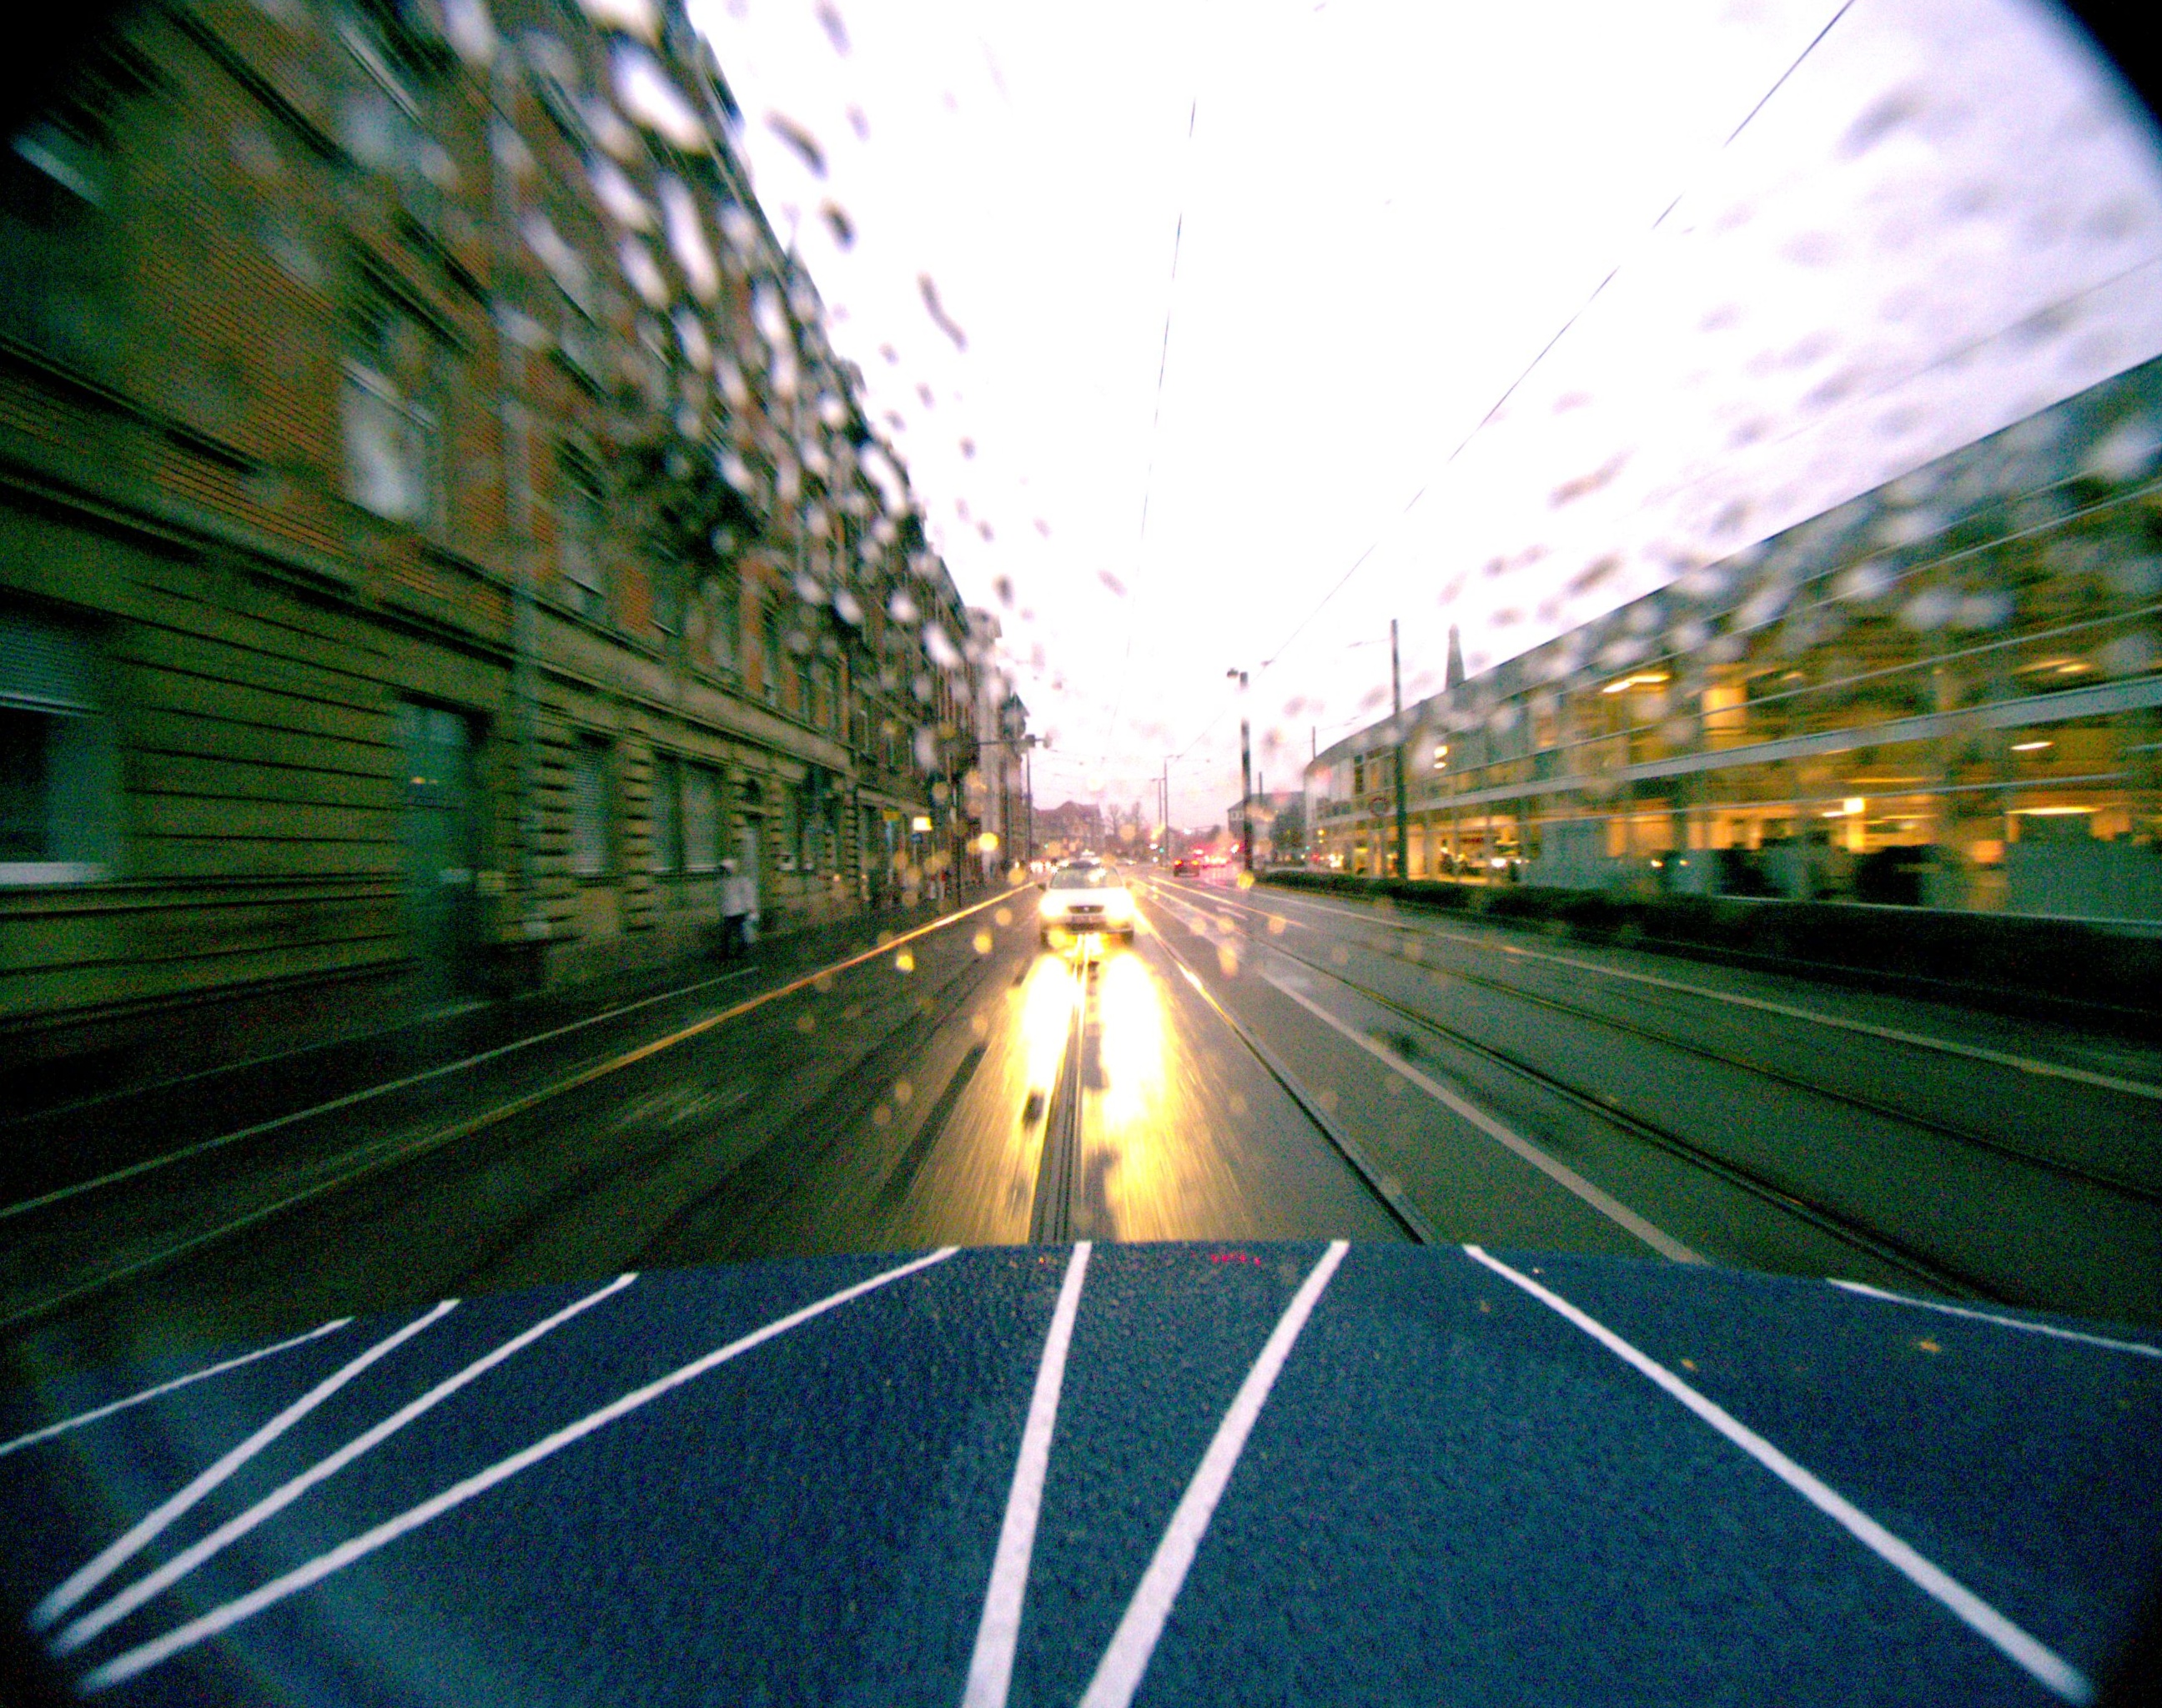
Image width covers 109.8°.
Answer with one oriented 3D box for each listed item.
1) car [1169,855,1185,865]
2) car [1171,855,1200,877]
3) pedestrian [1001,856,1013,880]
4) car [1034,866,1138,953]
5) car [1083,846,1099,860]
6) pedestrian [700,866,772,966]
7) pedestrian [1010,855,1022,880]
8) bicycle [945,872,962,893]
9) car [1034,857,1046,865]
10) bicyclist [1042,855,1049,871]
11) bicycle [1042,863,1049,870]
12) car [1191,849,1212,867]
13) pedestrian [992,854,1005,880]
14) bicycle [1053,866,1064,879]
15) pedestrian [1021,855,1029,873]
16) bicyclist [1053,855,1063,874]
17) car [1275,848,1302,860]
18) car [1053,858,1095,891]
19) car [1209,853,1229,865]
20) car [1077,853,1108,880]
[{"bbox_3d":[13.097,0.801,103.457,1.876,1.382,4.001,0,0,4],"label":"car"},{"bbox_3d":[8.035,0.904,58.728,1.845,1.569,4.442,-2,0,2],"label":"car"},{"bbox_3d":[-5.356,1.005,55.066,0.777,1.734,0.673,-1,1,1],"label":"pedestrian"},{"bbox_3d":[0.183,1.020,15.529,1.797,1.415,4.000,-2,0,3],"label":"car"},{"bbox_3d":[1.337,-0.196,103.764,2.018,1.809,3.688,-2,1,1],"label":"car"},{"bbox_3d":[-5.774,1.018,12.740,0.787,1.588,0.742,-2,1,4],"label":"pedestrian"},{"bbox_3d":[-4.602,0.945,53.796,0.777,1.734,0.673,-1,1,1],"label":"pedestrian"},{"bbox_3d":[-5.921,1.325,35.359,0.398,0.906,1.866,-2,0,1],"label":"bicycle"},{"bbox_3d":[-7.711,1.348,143.466,1.829,1.499,3.801,-2,0,-8],"label":"car"},{"bbox_3d":[-4.108,1.008,87.332,0.747,1.869,1.111,-2,1,-1],"label":"bicyclist"},{"bbox_3d":[-4.075,1.415,87.266,0.609,0.757,1.860,-2,1,-1],"label":"bicycle"},{"bbox_3d":[14.343,0.411,90.815,1.998,2.002,4.686,-2,1,5],"label":"car"},{"bbox_3d":[-5.739,0.903,52.637,0.777,1.734,0.673,-1,1,1],"label":"pedestrian"},{"bbox_3d":[-1.775,1.454,60.563,0.725,0.985,2.212,-2,0,0],"label":"bicycle"},{"bbox_3d":[-5.020,0.873,67.889,0.633,1.539,0.710,-2,1,-5],"label":"pedestrian"},{"bbox_3d":[-1.805,0.821,60.520,0.727,1.525,0.785,-2,1,0],"label":"bicyclist"},{"bbox_3d":[40.263,0.026,147.274,5.562,2.002,1.995,-3,1,-36],"label":"car"},{"bbox_3d":[-0.293,0.978,37.361,1.797,1.415,4.000,-2,0,3],"label":"car"},{"bbox_3d":[17.896,0.664,98.636,1.998,1.413,4.588,-2,0,4],"label":"car"},{"bbox_3d":[0.747,0.769,49.018,1.824,1.565,4.000,-2,0,1],"label":"car"}]
